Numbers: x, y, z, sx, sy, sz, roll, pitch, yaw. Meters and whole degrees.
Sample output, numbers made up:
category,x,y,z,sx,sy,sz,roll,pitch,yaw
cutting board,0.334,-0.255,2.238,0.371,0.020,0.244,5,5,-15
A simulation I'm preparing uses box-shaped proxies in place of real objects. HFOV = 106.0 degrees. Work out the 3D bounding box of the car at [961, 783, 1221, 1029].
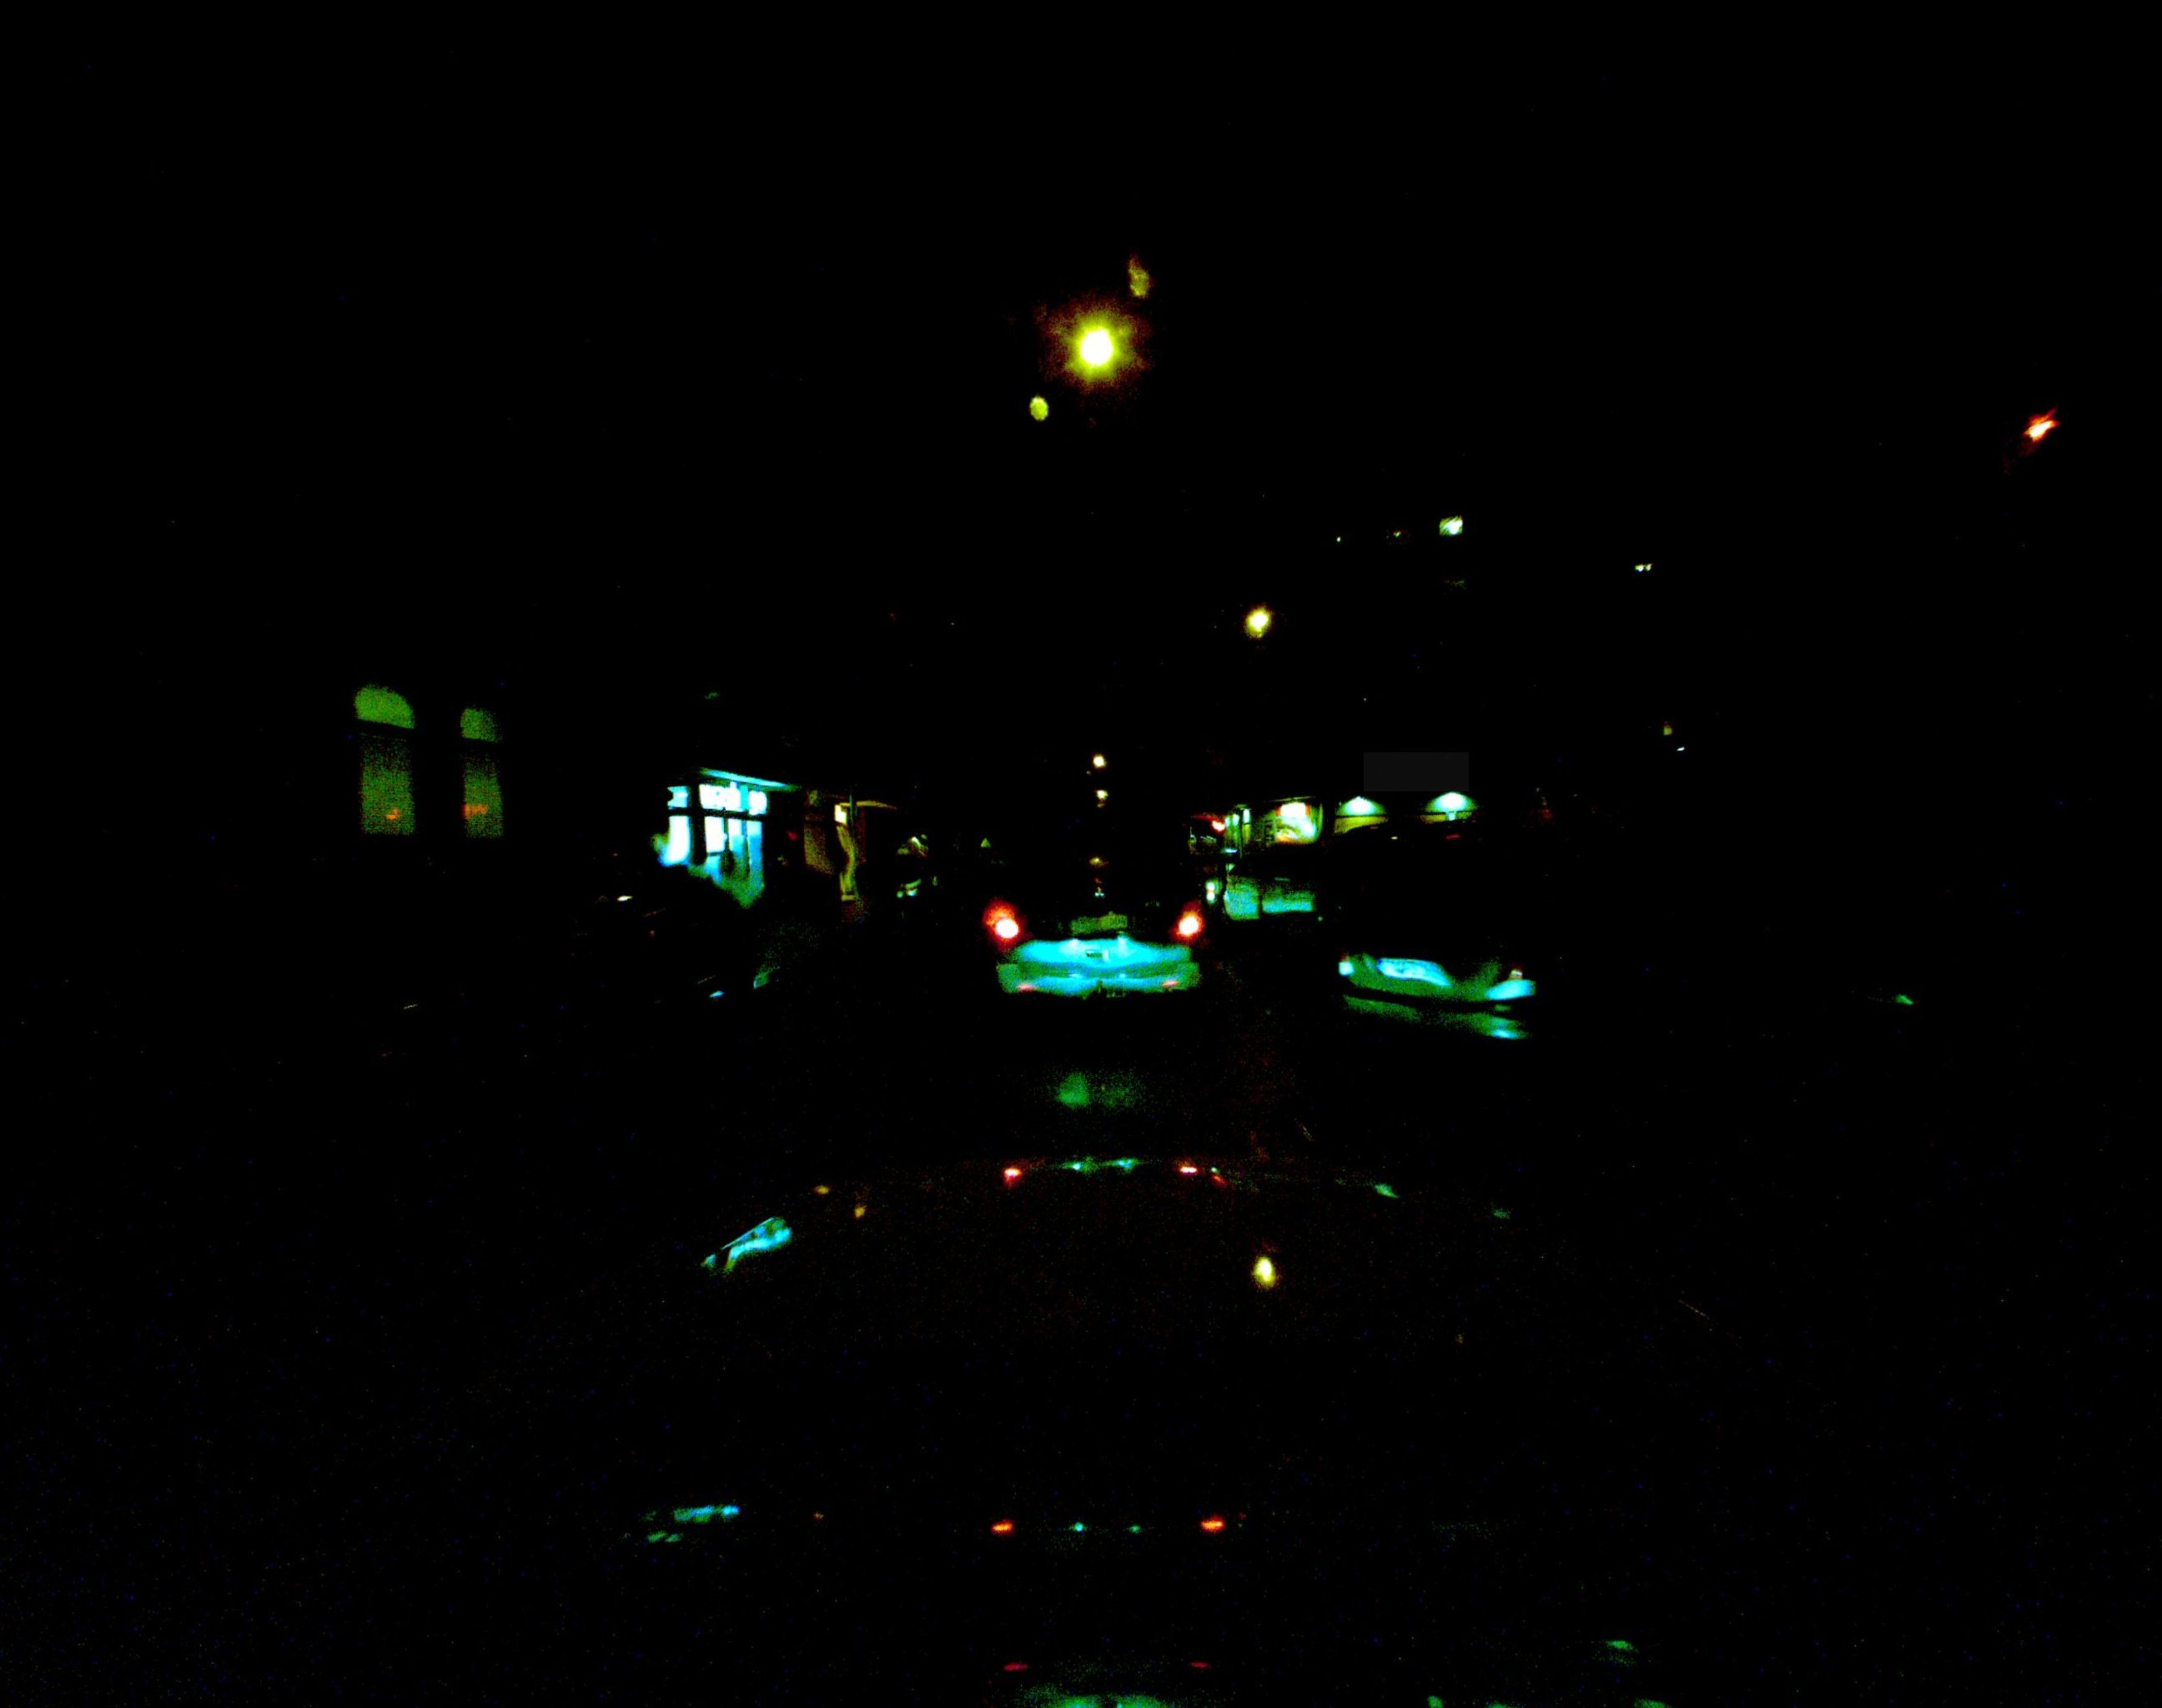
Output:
category,x,y,z,sx,sy,sz,roll,pitch,yaw
car,0.161,0.425,9.112,2.114,1.991,4.603,-2,0,2

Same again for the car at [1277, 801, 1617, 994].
category,x,y,z,sx,sy,sz,roll,pitch,yaw
car,4.298,0.365,9.412,3.809,1.712,1.730,-4,0,-33

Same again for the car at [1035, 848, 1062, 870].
category,x,y,z,sx,sy,sz,roll,pitch,yaw
car,-2.271,0.343,58.257,1.580,1.463,4.026,1,1,2

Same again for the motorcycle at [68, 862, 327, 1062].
category,x,y,z,sx,sy,sz,roll,pitch,yaw
motorcycle,-7.291,0.816,6.827,0.535,1.471,1.458,-1,0,1

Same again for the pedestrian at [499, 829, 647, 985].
category,x,y,z,sx,sy,sz,roll,pitch,yaw
pedestrian,-6.560,0.641,10.628,0.952,1.863,1.415,-2,0,0

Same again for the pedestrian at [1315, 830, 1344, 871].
category,x,y,z,sx,sy,sz,roll,pitch,yaw
pedestrian,11.314,-0.175,37.069,0.867,1.833,0.990,-2,0,37

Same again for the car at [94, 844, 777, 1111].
category,x,y,z,sx,sy,sz,roll,pitch,yaw
car,-4.645,0.698,7.182,1.840,1.478,5.033,-2,0,2

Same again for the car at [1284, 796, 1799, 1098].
category,x,y,z,sx,sy,sz,roll,pitch,yaw
car,3.764,0.469,6.450,4.089,1.597,1.815,-4,0,-33

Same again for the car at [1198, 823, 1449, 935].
category,x,y,z,sx,sy,sz,roll,pitch,yaw
car,4.443,0.386,14.794,4.273,1.573,1.756,-4,0,-27

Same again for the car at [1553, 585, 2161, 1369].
category,x,y,z,sx,sy,sz,roll,pitch,yaw
car,4.002,0.233,3.641,3.755,2.028,1.703,-4,0,-34

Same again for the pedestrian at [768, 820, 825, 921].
category,x,y,z,sx,sy,sz,roll,pitch,yaw
pedestrian,-6.530,0.363,18.751,0.796,2.241,1.116,-2,0,0

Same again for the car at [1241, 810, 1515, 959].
category,x,y,z,sx,sy,sz,roll,pitch,yaw
car,4.354,0.342,11.798,3.755,1.712,1.753,-4,0,-33
